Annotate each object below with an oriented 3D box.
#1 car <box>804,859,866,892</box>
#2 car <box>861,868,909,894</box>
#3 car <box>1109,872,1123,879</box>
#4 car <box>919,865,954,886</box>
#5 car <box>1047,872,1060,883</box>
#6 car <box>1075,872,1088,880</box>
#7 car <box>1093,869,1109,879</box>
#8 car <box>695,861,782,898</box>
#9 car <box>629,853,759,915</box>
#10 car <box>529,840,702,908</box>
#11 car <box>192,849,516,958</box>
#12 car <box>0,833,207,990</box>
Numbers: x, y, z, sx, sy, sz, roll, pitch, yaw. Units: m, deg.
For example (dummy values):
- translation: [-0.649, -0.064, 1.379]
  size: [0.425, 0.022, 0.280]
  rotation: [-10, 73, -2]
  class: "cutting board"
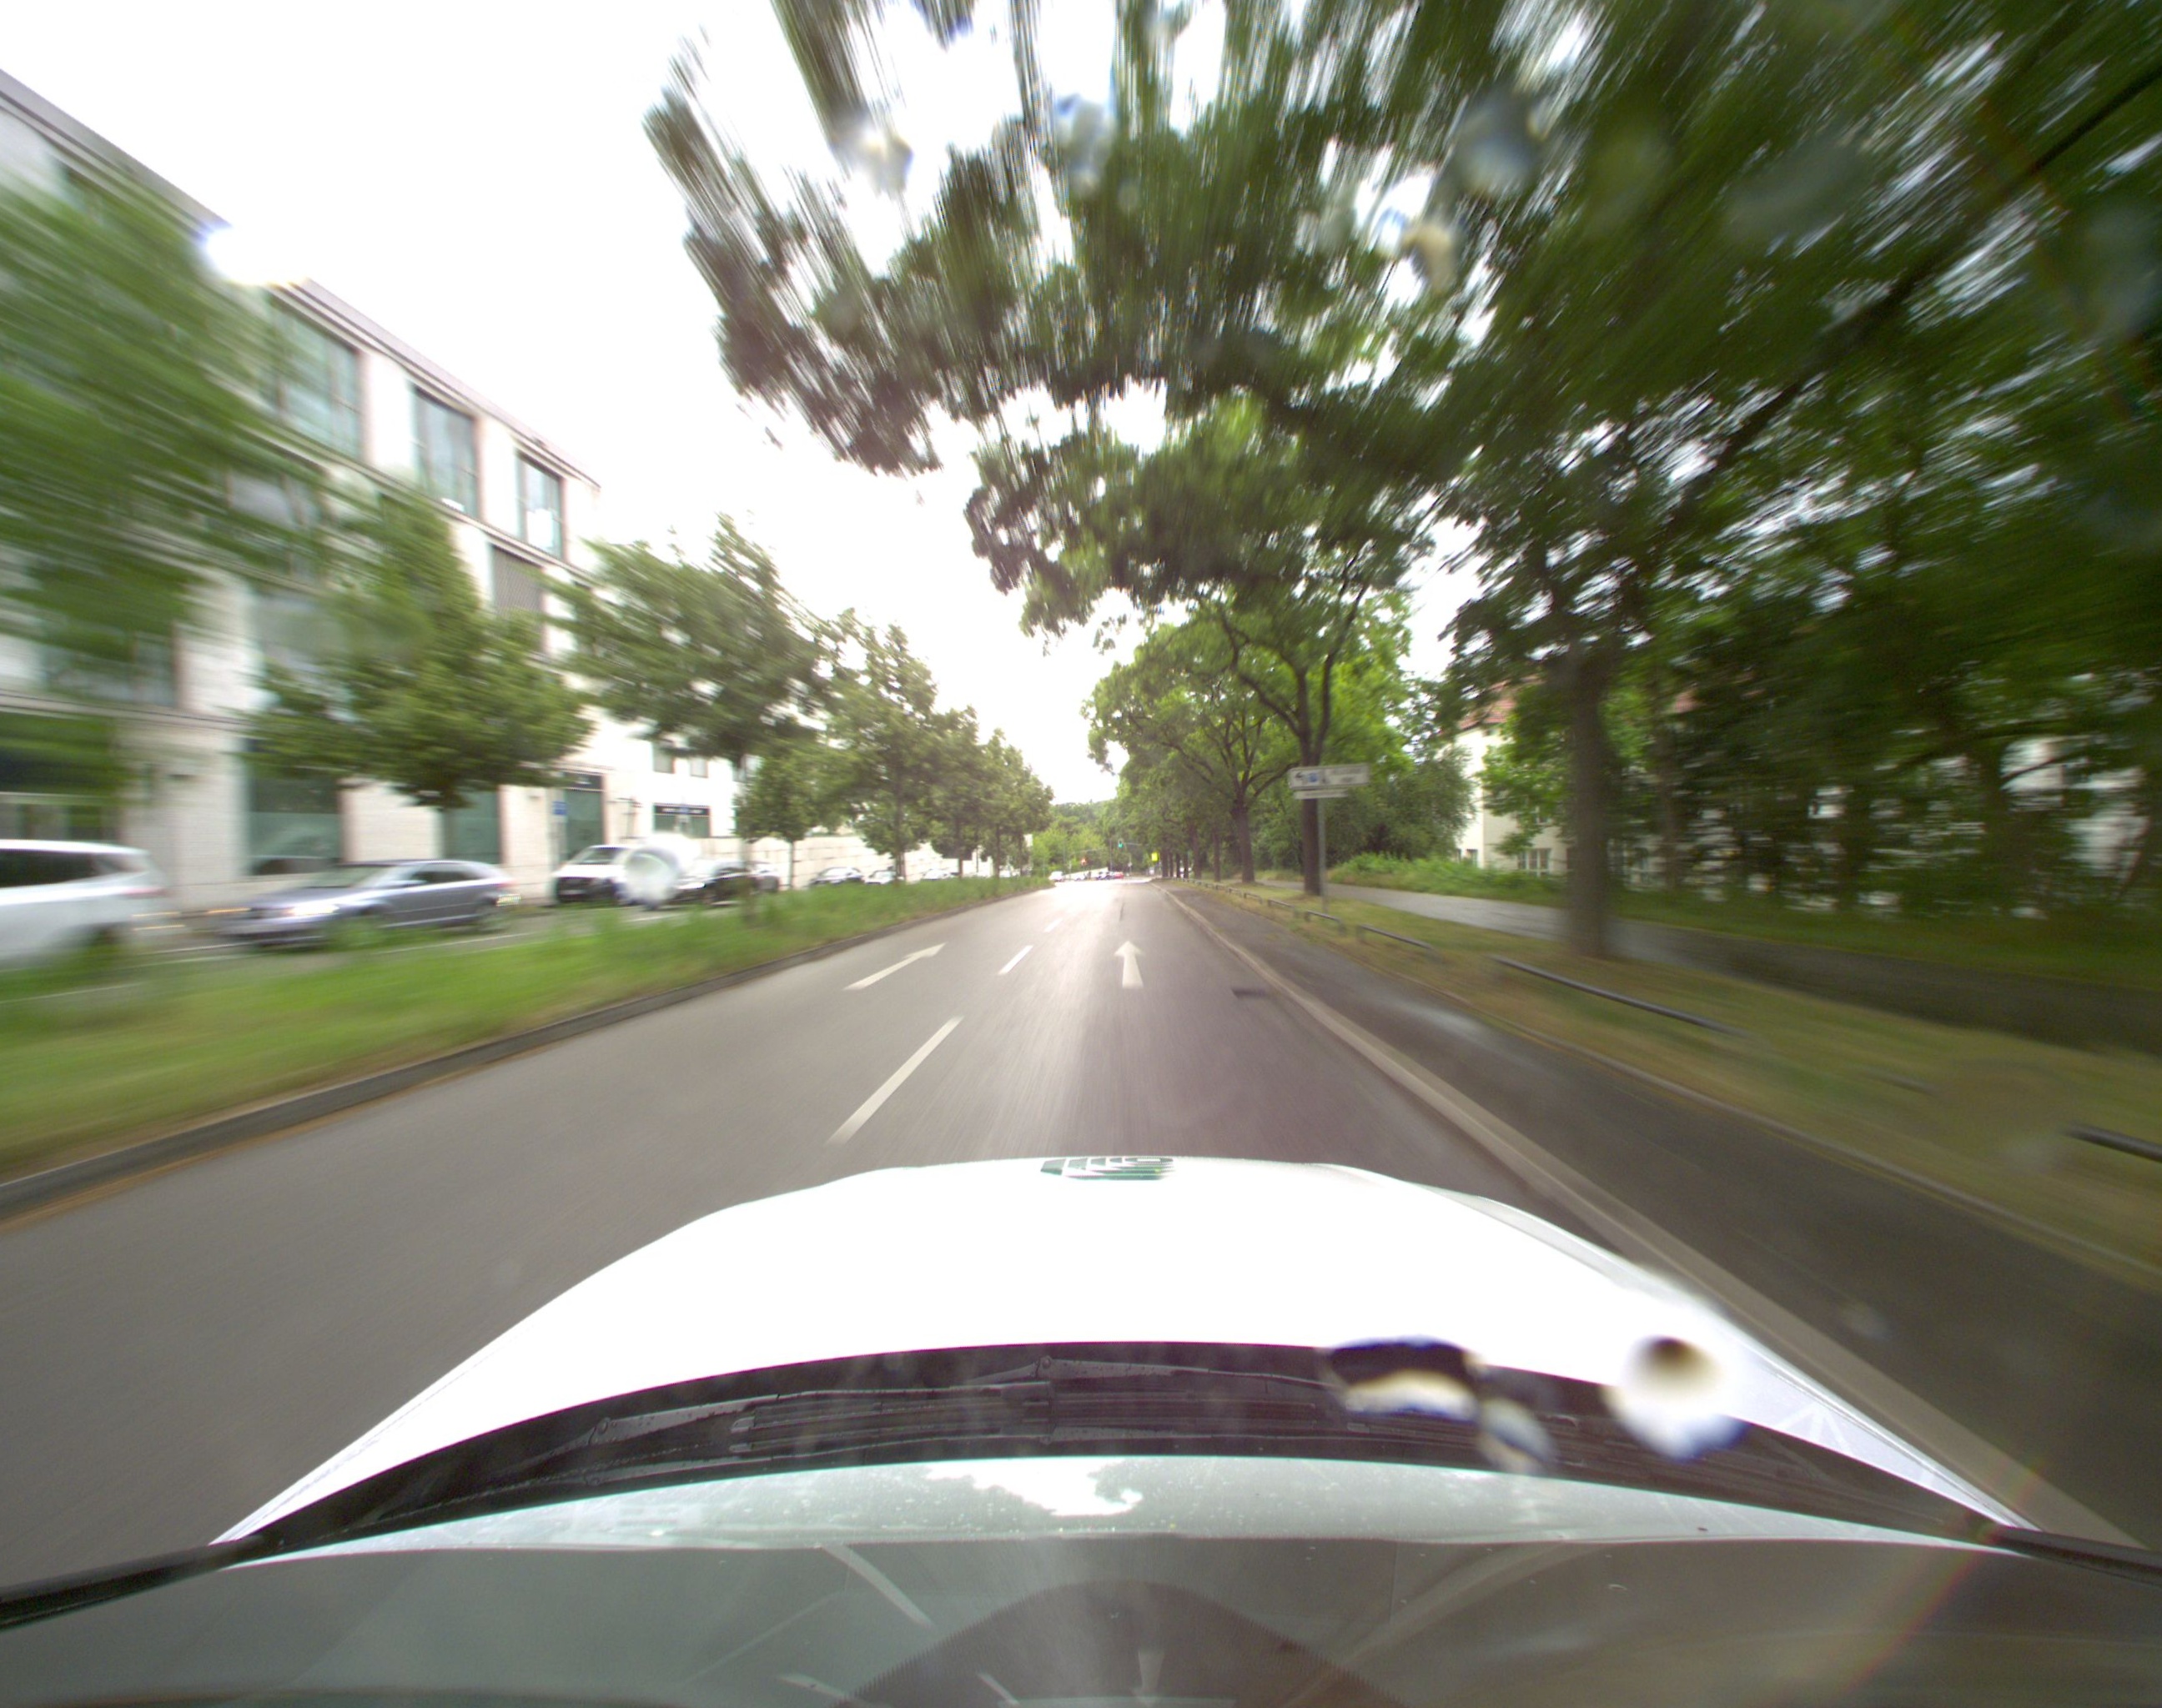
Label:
- translation: [-12.718, 1.071, 42.342]
  size: [1.687, 1.581, 4.021]
  rotation: [-2, 0, 4]
  class: "car"
- translation: [-12.250, 1.635, 51.010]
  size: [1.686, 1.444, 3.866]
  rotation: [-2, 0, 5]
  class: "car"
- translation: [7.820, 4.828, 181.883]
  size: [1.859, 1.575, 4.242]
  rotation: [1, -1, 19]
  class: "car"
- translation: [-11.378, 1.730, 64.379]
  size: [1.696, 1.620, 4.365]
  rotation: [-1, -2, 4]
  class: "car"
- translation: [-4.520, 3.763, 132.473]
  size: [1.703, 1.746, 4.340]
  rotation: [-2, -1, 2]
  class: "car"
- translation: [0.084, 4.015, 148.143]
  size: [1.760, 1.381, 4.199]
  rotation: [-3, -2, 8]
  class: "car"
- translation: [3.920, 3.953, 162.452]
  size: [1.906, 1.857, 4.525]
  rotation: [-6, -2, 16]
  class: "car"
- translation: [-13.349, 0.976, 31.947]
  size: [1.688, 1.385, 3.700]
  rotation: [0, -1, 2]
  class: "car"
- translation: [-11.142, 0.803, 23.802]
  size: [1.688, 1.581, 4.020]
  rotation: [-1, 1, 3]
  class: "car"
- translation: [-14.031, 0.573, 25.032]
  size: [2.114, 1.816, 5.263]
  rotation: [-1, -1, 2]
  class: "car"
- translation: [-11.885, 0.703, 13.752]
  size: [1.634, 1.410, 4.002]
  rotation: [-2, 2, 4]
  class: "car"
- translation: [-12.112, 0.655, 7.968]
  size: [1.821, 1.600, 4.679]
  rotation: [-2, 2, 3]
  class: "car"
